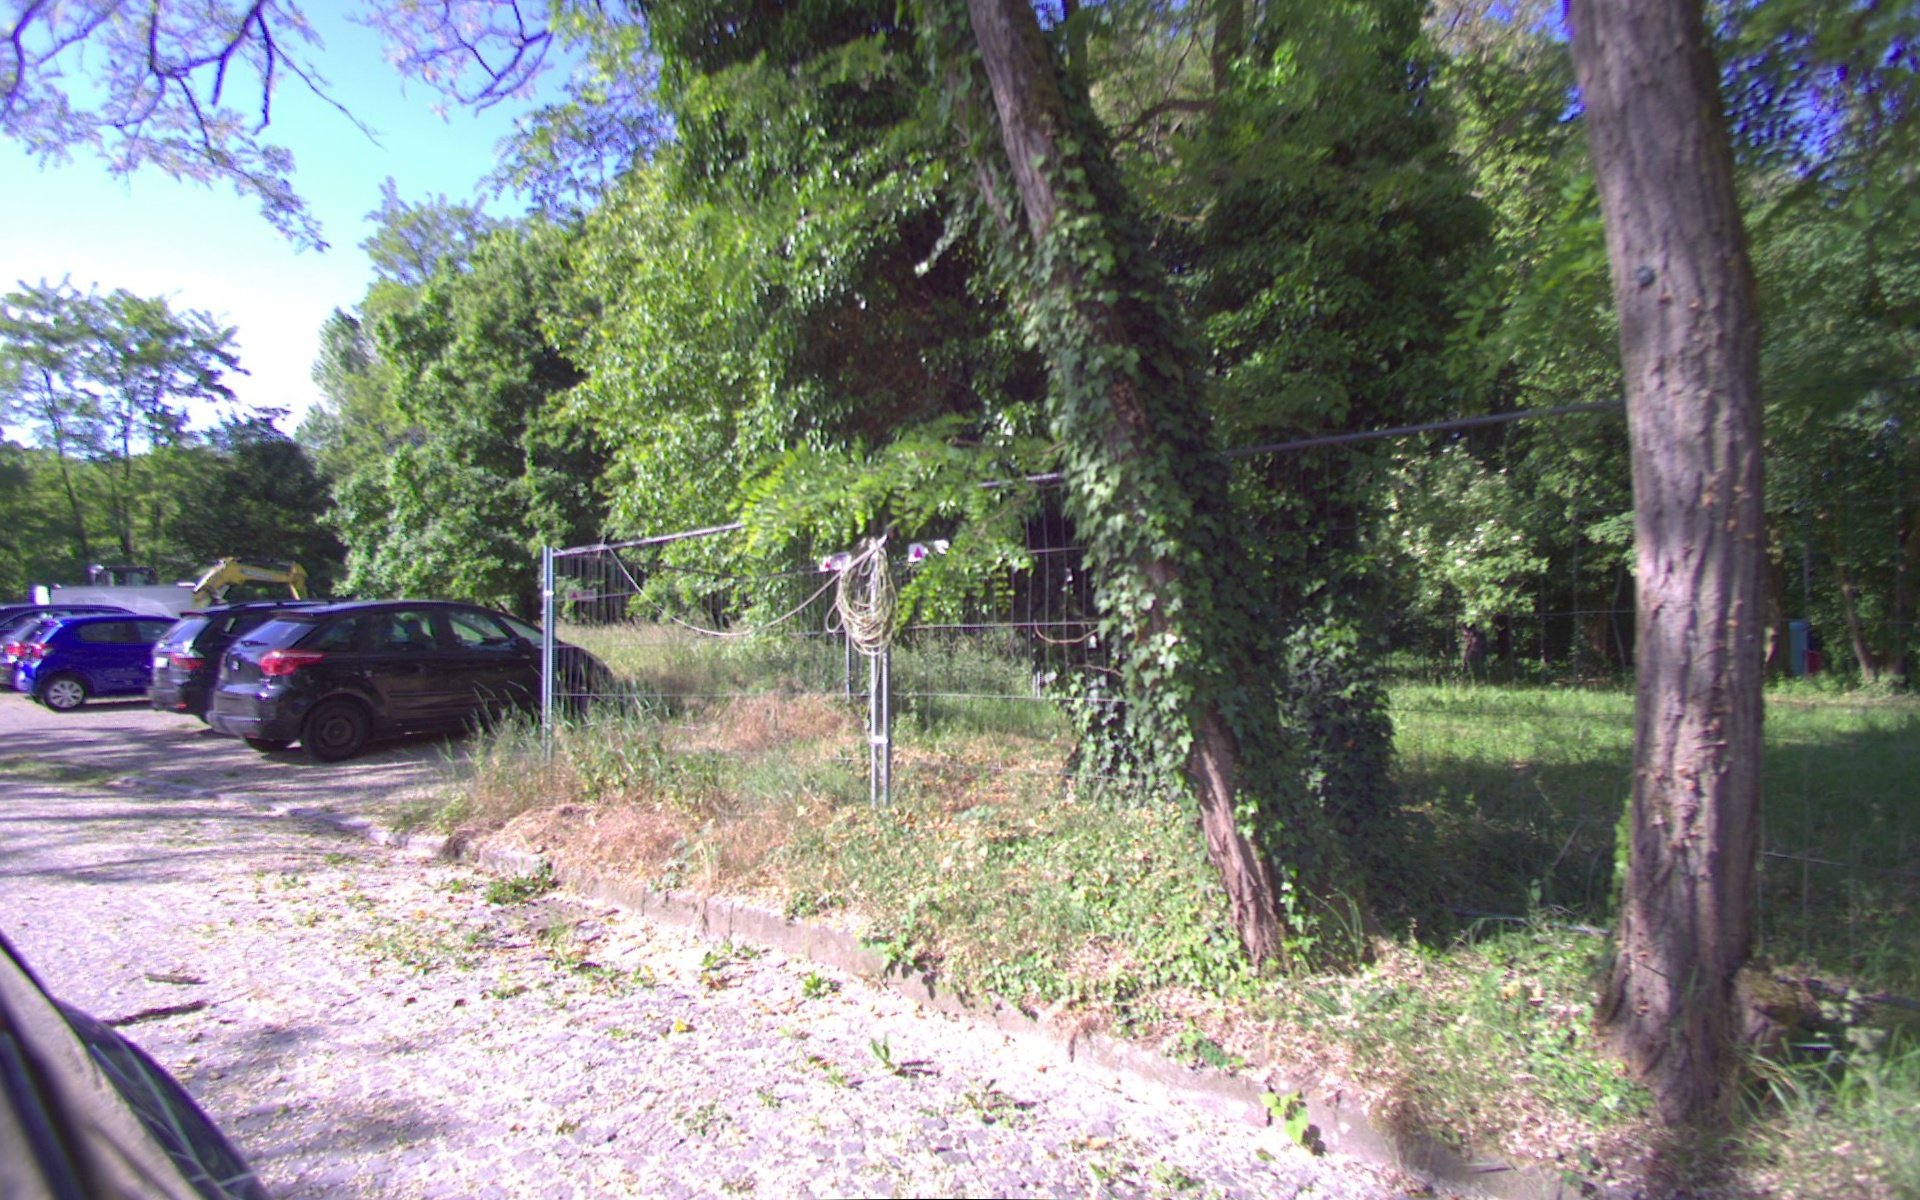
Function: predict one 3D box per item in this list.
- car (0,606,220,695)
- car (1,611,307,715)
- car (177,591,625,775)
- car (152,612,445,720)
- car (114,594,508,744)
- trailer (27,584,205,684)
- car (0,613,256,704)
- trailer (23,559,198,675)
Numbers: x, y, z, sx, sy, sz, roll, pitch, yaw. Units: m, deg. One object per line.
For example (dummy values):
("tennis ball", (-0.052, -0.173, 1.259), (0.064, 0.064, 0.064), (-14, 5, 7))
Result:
("car", (-17.436, 0.932, 20.109), (1.969, 1.602, 4.077), (0, 0, 39))
("car", (-13.342, 0.952, 16.921), (1.784, 1.469, 3.739), (0, 0, 40))
("car", (-6.316, 0.797, 11.930), (1.825, 1.601, 4.224), (-2, 2, 34))
("car", (-10.567, 0.961, 16.317), (1.745, 1.462, 3.670), (0, 0, 45))
("car", (-8.826, 0.805, 14.116), (1.877, 1.643, 4.222), (0, 1, 36))
("trailer", (-18.867, 0.705, 22.677), (1.823, 2.066, 2.811), (0, 0, 41))
("car", (-15.403, 0.990, 18.565), (1.893, 1.422, 3.740), (0, 0, 39))
("trailer", (-20.427, 0.342, 24.366), (2.265, 2.557, 2.812), (0, 2, 41))
